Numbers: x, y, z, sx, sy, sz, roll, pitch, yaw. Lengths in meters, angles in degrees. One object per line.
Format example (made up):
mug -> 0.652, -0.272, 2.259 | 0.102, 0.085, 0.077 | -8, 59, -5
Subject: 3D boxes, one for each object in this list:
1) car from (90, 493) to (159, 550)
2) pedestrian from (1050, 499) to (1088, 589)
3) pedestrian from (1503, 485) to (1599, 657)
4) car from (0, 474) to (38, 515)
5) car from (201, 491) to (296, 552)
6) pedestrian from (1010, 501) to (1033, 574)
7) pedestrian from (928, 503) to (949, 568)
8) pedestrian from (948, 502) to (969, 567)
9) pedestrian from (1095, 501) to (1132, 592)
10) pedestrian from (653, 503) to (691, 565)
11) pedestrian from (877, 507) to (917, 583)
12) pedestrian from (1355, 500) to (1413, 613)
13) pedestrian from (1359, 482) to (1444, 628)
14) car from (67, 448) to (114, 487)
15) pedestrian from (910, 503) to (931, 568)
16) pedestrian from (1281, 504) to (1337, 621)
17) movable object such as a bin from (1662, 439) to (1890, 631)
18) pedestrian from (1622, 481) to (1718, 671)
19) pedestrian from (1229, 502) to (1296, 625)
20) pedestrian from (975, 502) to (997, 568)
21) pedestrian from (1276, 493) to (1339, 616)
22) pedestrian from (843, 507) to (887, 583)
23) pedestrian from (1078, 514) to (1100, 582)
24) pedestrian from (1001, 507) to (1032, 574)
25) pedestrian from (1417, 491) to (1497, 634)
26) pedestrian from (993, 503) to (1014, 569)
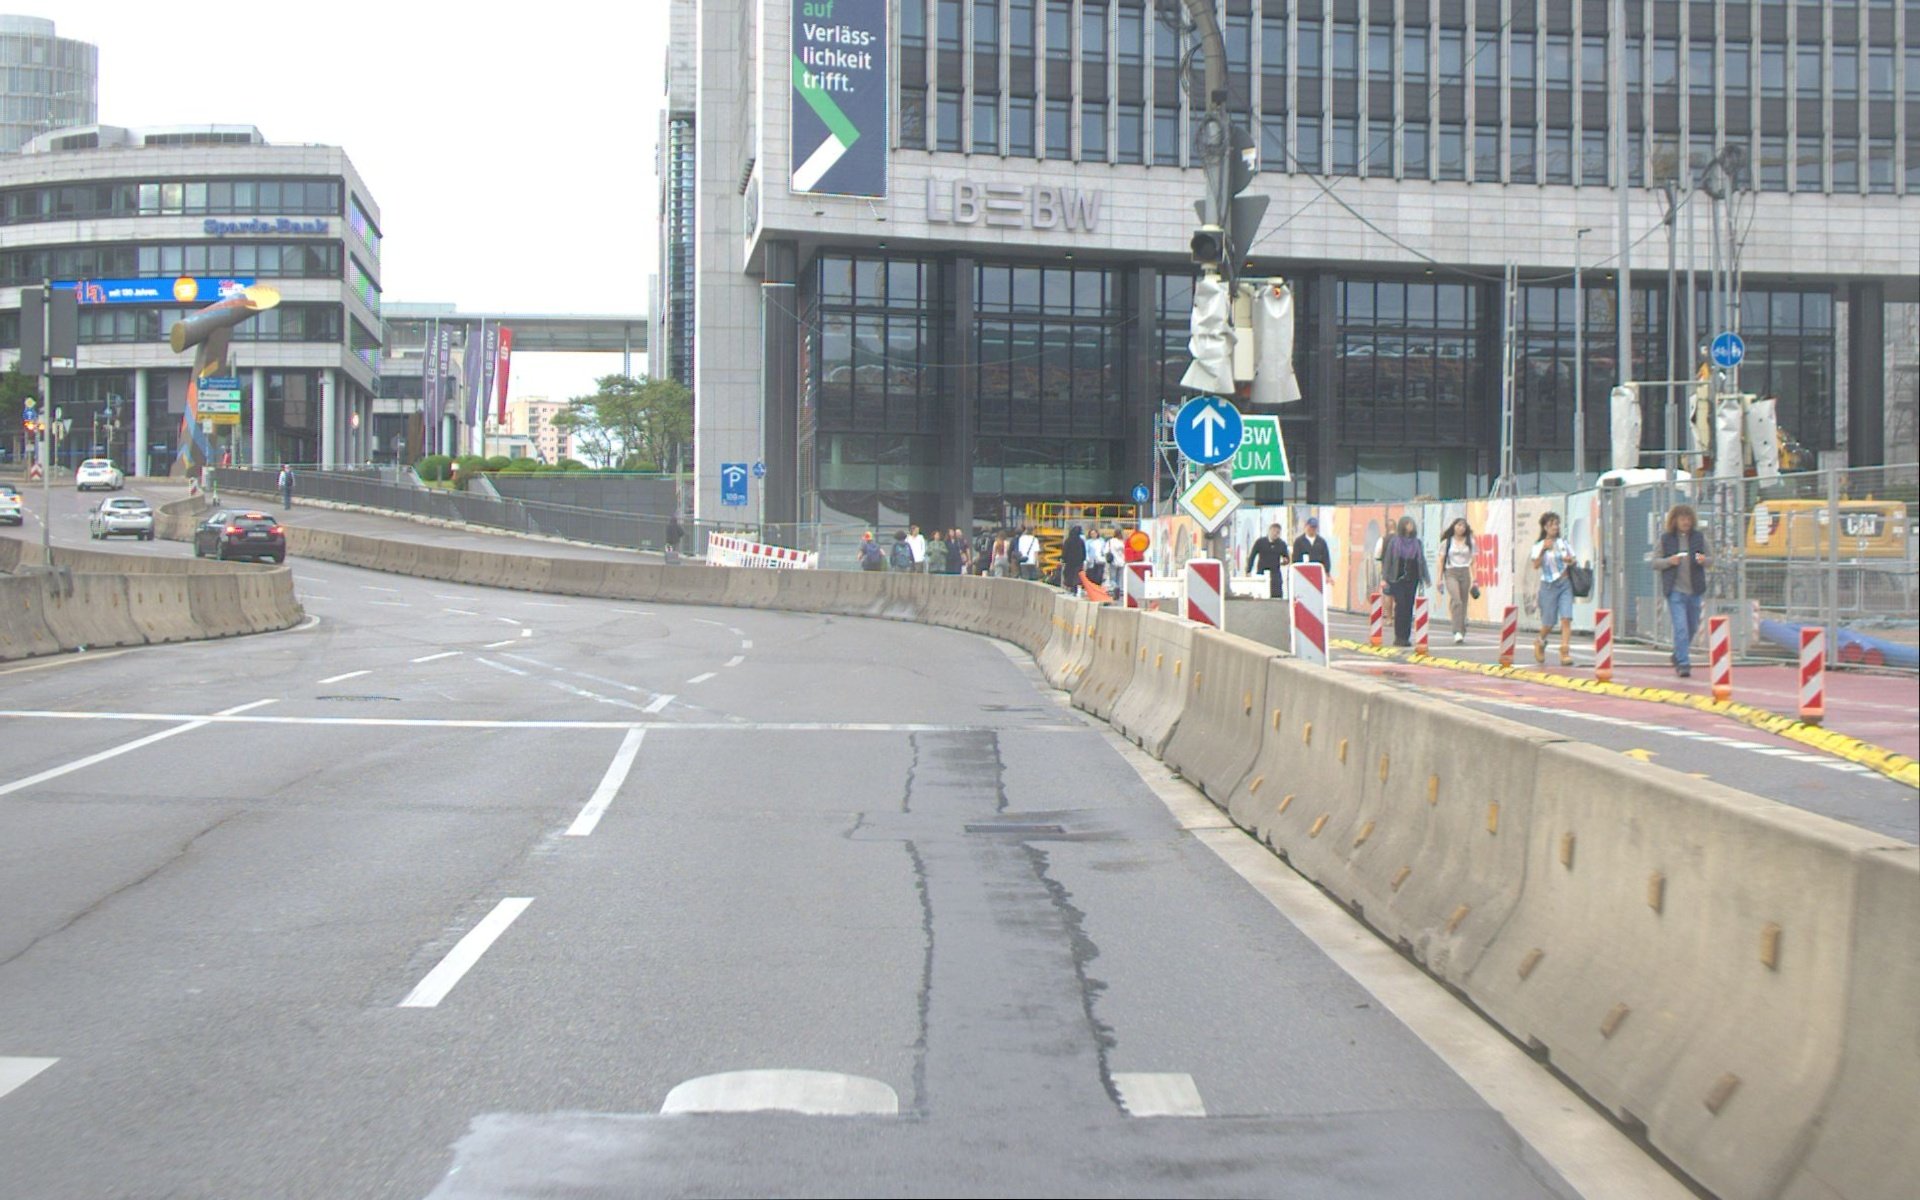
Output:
car -> -27.994, -2.624, 115.114 | 1.738, 1.869, 3.779 | 0, 1, -22
pedestrian -> 2.449, -1.261, 77.376 | 0.784, 2.006, 0.863 | 1, 2, 4
pedestrian -> 6.492, -0.321, 37.821 | 0.779, 1.855, 0.949 | 1, 1, -6
car -> -35.888, -3.950, 128.943 | 1.741, 1.501, 3.754 | 1, 1, -28
car -> -19.539, -2.127, 94.320 | 1.674, 1.503, 3.746 | 1, -1, -26
pedestrian -> 1.546, -1.572, 86.450 | 0.529, 1.812, 0.536 | 1, 1, -3
pedestrian -> -0.569, -1.706, 90.647 | 0.453, 1.699, 0.647 | 1, 2, -7
pedestrian -> -0.053, -1.736, 90.735 | 0.448, 1.699, 0.647 | 1, 2, -7
pedestrian -> 3.450, -1.207, 77.262 | 0.784, 2.006, 0.863 | 1, 2, 4
pedestrian -> -8.332, -1.904, 99.358 | 0.756, 1.784, 1.057 | 1, 1, -23
pedestrian -> -1.366, -1.197, 74.519 | 0.658, 1.636, 0.824 | 1, 1, -14
pedestrian -> 7.034, -0.721, 57.074 | 0.779, 1.855, 0.812 | -1, 1, -6
pedestrian -> 5.717, -0.589, 44.559 | 0.869, 1.855, 0.949 | 1, 1, -6
car -> -40.919, -6.221, 161.778 | 1.993, 1.798, 4.267 | 1, 2, -16
pedestrian -> -1.037, -1.694, 90.546 | 0.448, 1.699, 0.647 | 1, 2, -7
pedestrian -> 5.561, -0.597, 54.818 | 0.732, 1.848, 0.831 | 1, 1, -4
movable object such as a bin -> 17.599, -1.392, 74.252 | 3.086, 4.016, 3.698 | 1, 1, -25
pedestrian -> 7.051, -0.248, 34.179 | 0.689, 1.855, 0.812 | 1, 1, -6
pedestrian -> 4.546, -0.553, 51.744 | 0.819, 1.821, 1.111 | 0, 1, -5
pedestrian -> 0.677, -1.697, 89.599 | 0.448, 1.699, 0.647 | 1, 2, -6
pedestrian -> 5.323, -0.696, 52.678 | 0.779, 1.855, 0.812 | 1, 1, -6
pedestrian -> -2.059, -1.194, 74.346 | 0.750, 1.636, 0.824 | 1, 1, -14
pedestrian -> 3.246, -1.301, 86.414 | 0.448, 1.699, 0.647 | 1, 2, -4
pedestrian -> 1.446, -1.526, 87.828 | 0.511, 1.699, 0.574 | 0, 2, -39
pedestrian -> 6.579, -0.505, 45.577 | 0.779, 1.855, 1.058 | 1, 1, -6
pedestrian -> 1.130, -1.673, 89.265 | 0.448, 1.699, 0.647 | 1, 2, 6
